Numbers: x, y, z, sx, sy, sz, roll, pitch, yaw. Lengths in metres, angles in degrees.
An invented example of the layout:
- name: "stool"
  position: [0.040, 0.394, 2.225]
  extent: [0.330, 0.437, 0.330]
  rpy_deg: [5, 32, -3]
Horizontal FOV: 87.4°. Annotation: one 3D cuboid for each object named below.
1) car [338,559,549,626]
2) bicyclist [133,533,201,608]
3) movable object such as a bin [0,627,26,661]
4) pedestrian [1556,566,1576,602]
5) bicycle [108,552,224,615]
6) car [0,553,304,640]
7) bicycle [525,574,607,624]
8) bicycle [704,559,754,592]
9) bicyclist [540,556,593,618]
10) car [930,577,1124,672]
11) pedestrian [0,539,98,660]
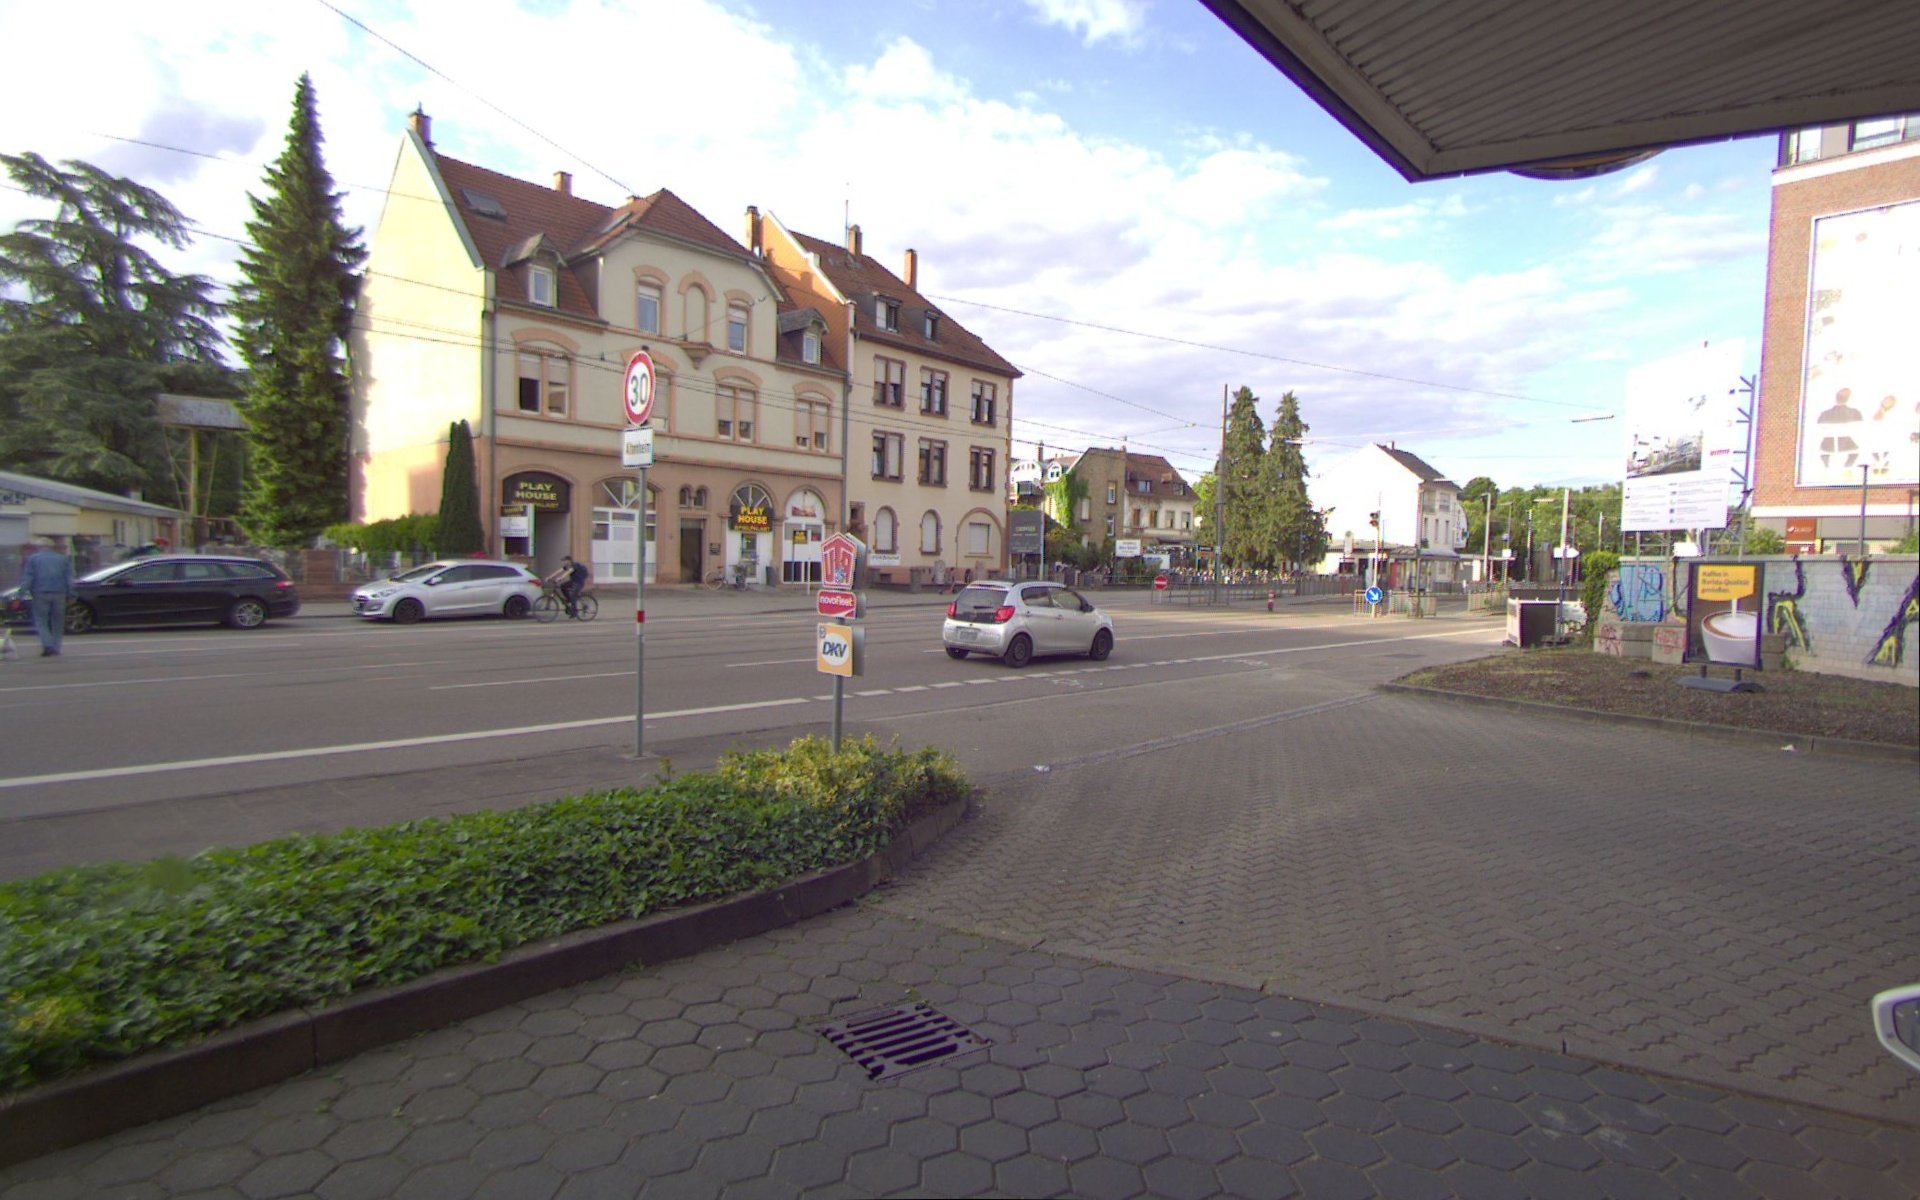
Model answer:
- name: "car"
  position: [-12.917, -0.233, 25.360]
  extent: [1.699, 1.503, 4.434]
  rpy_deg: [4, 4, 40]
- name: "bicyclist"
  position: [-17.906, -0.666, 22.687]
  extent: [0.853, 1.627, 1.024]
  rpy_deg: [6, 4, 38]
- name: "movable object such as a bin"
  position: [-13.442, 0.616, 14.025]
  extent: [0.669, 0.426, 0.479]
  rpy_deg: [3, 3, 37]
- name: "pedestrian"
  position: [35.431, -0.924, 58.753]
  extent: [0.797, 2.040, 0.845]
  rpy_deg: [2, 0, 44]
- name: "bicycle"
  position: [-17.922, -0.369, 22.699]
  extent: [0.852, 1.329, 1.911]
  rpy_deg: [6, 4, 38]
- name: "car"
  position: [-16.597, -0.138, 20.738]
  extent: [1.983, 1.520, 4.755]
  rpy_deg: [4, 4, 39]
- name: "bicycle"
  position: [-10.135, -0.044, 25.881]
  extent: [0.669, 1.239, 1.913]
  rpy_deg: [1, 2, 35]
- name: "bicycle"
  position: [-9.105, -0.950, 39.615]
  extent: [0.665, 1.229, 1.862]
  rpy_deg: [4, 2, 41]
- name: "bicyclist"
  position: [-10.128, -0.337, 25.877]
  extent: [0.669, 1.555, 1.082]
  rpy_deg: [1, 2, 35]
- name: "car"
  position: [1.271, 0.368, 18.138]
  extent: [1.667, 1.452, 3.406]
  rpy_deg: [5, 4, 44]
- name: "pedestrian"
  position: [-13.316, -0.020, 14.717]
  extent: [0.995, 1.690, 0.960]
  rpy_deg: [0, 3, -39]
